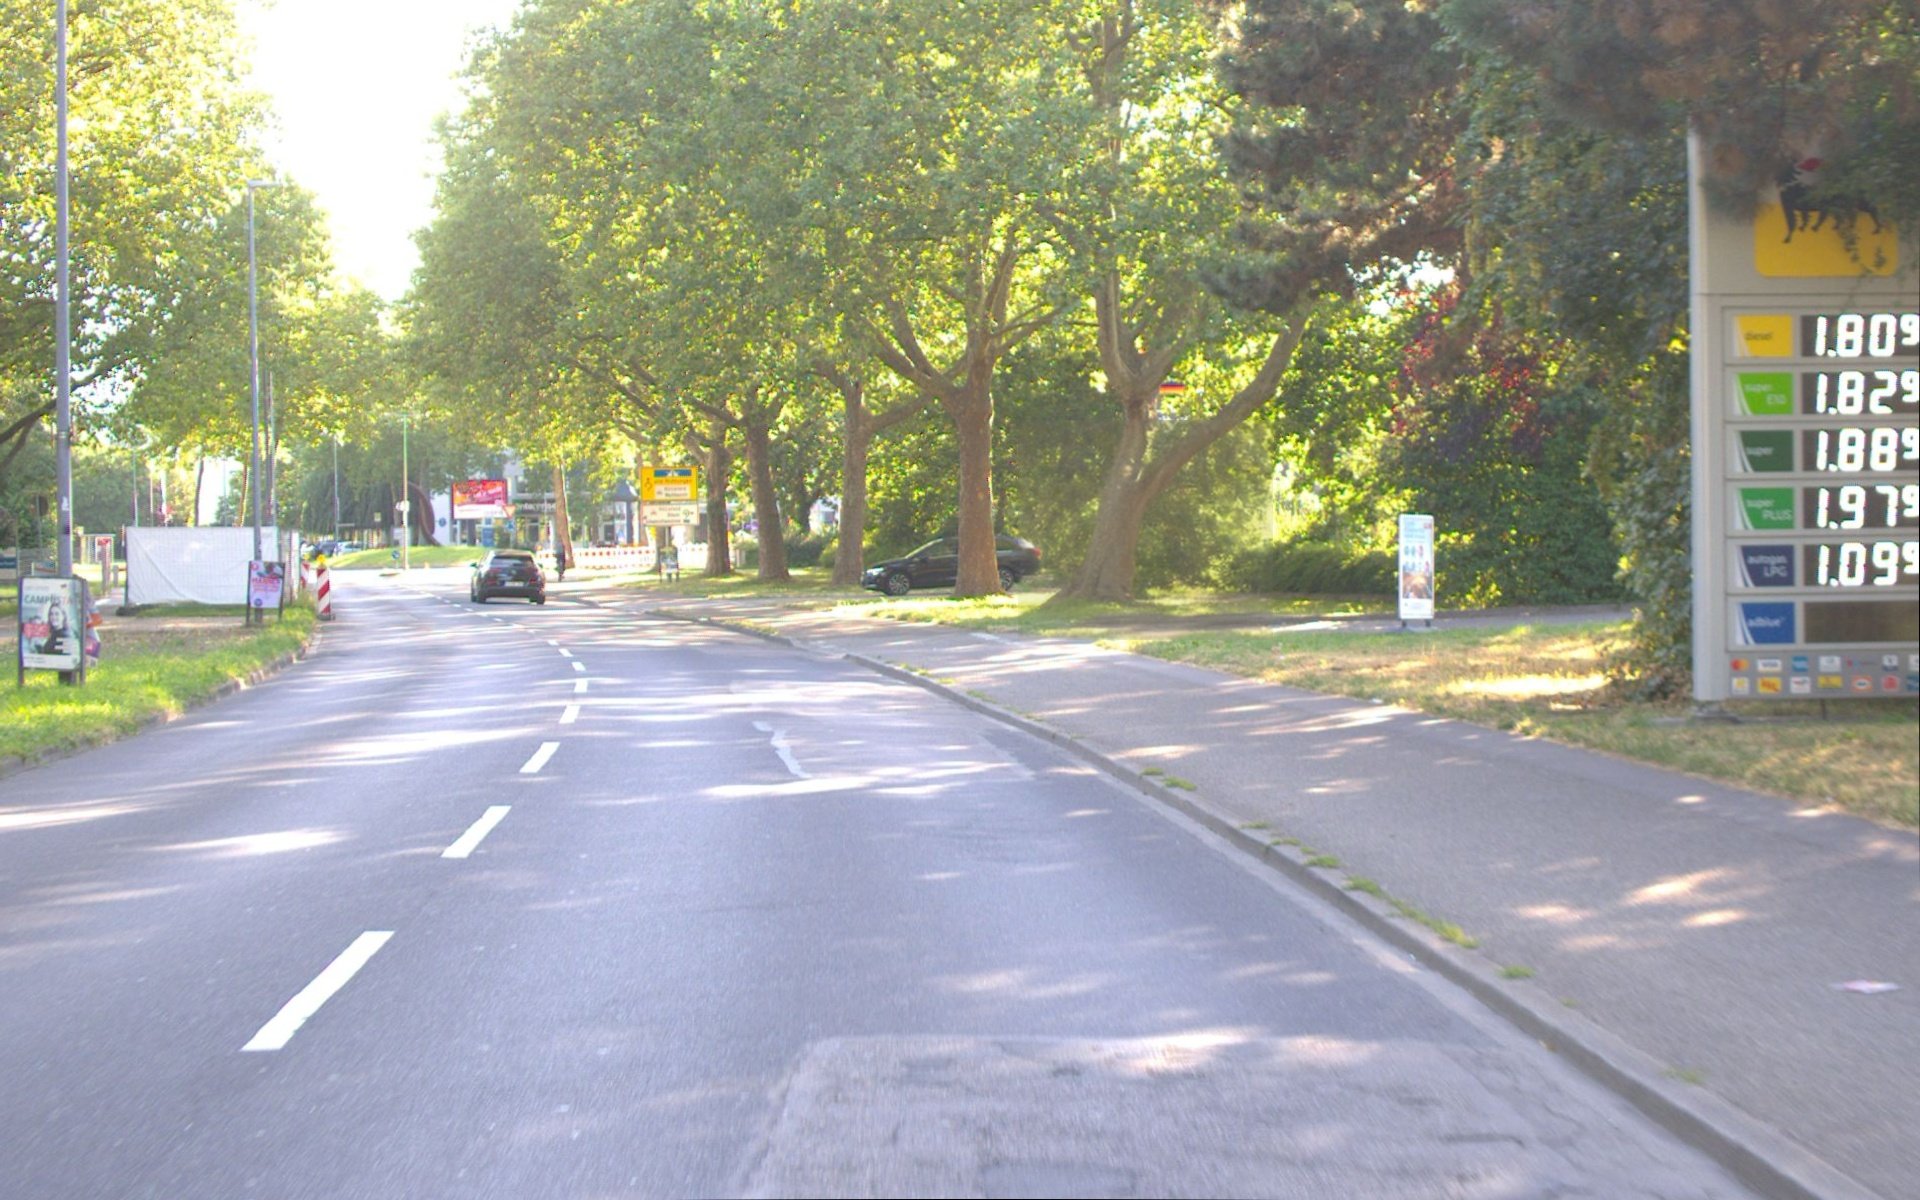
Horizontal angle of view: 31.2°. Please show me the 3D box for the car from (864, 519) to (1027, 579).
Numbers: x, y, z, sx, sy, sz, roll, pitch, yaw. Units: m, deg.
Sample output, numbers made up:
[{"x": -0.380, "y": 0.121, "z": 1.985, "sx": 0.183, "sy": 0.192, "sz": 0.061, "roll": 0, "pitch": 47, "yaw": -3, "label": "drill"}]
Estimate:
[{"x": -0.385, "y": -1.329, "z": 89.156, "sx": 3.986, "sy": 1.438, "sz": 1.761, "roll": -2, "pitch": 1, "yaw": -8, "label": "car"}]

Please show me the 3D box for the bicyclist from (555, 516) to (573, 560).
[{"x": -15.449, "y": -2.422, "z": 134.168, "sx": 0.650, "sy": 1.699, "sz": 0.872, "roll": 0, "pitch": 1, "yaw": -10, "label": "bicyclist"}]

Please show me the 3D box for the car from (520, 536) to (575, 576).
[{"x": -21.539, "y": -2.326, "z": 179.586, "sx": 1.994, "sy": 2.007, "sz": 3.999, "roll": -1, "pitch": 1, "yaw": 6, "label": "car"}]

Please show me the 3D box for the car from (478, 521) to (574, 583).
[{"x": -11.605, "y": -1.292, "z": 92.198, "sx": 1.839, "sy": 1.600, "sz": 3.862, "roll": -1, "pitch": 1, "yaw": 3, "label": "car"}]
